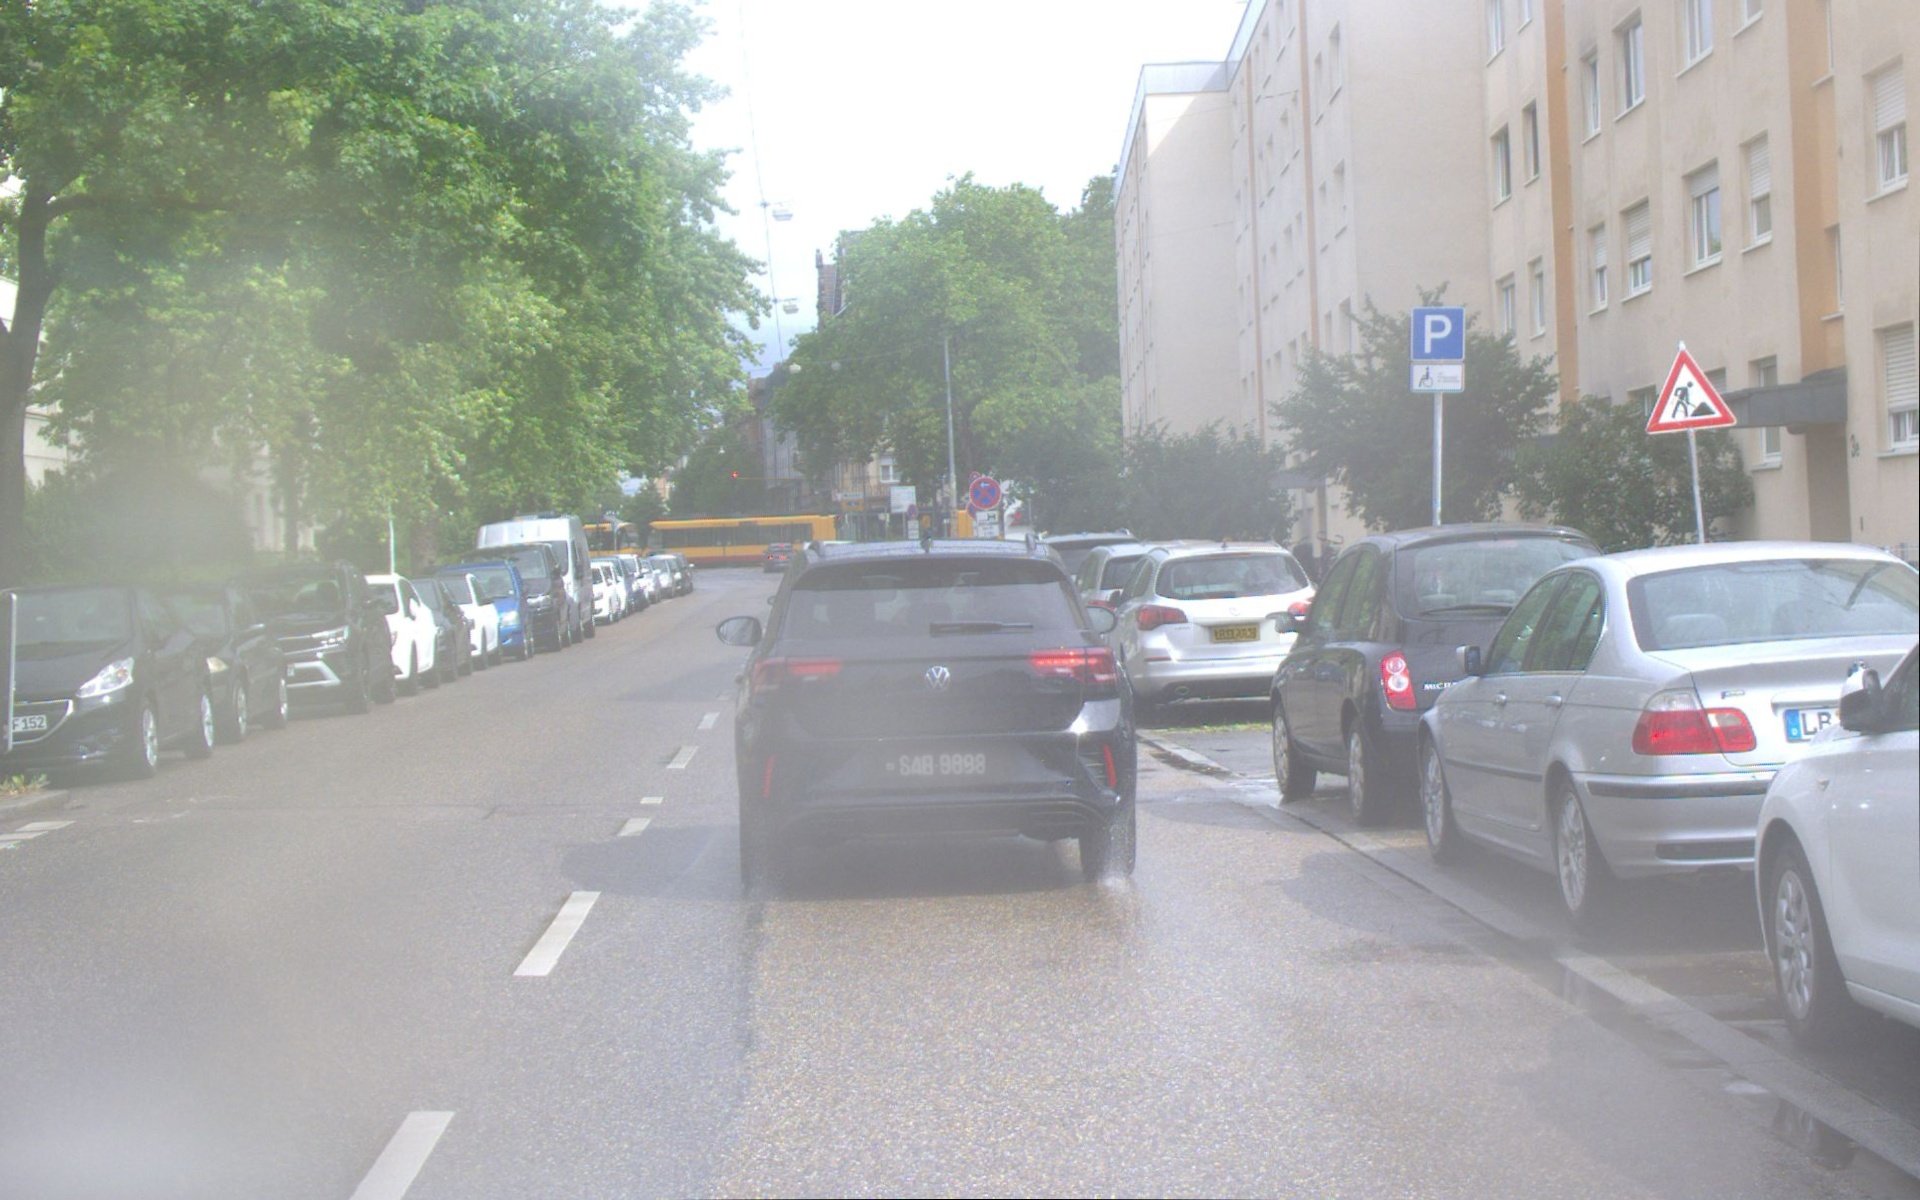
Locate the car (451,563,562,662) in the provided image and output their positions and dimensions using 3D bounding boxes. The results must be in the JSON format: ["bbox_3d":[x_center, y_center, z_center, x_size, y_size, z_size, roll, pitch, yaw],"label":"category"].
[{"bbox_3d":[-8.086,0.195,61.535,1.586,1.634,3.921,-3,1,-3],"label":"car"}]

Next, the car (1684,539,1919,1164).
[{"bbox_3d":[3.164,0.580,8.321,1.749,1.503,4.112,-2,-1,-2],"label":"car"}]

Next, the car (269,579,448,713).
[{"bbox_3d":[-7.142,0.508,41.136,1.586,1.413,3.921,-3,1,-3],"label":"car"}]

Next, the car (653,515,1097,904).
[{"bbox_3d":[-0.319,0.441,16.607,1.873,1.640,4.062,0,1,1],"label":"car"}]

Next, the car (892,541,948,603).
[{"bbox_3d":[-1.271,-0.904,109.282,1.665,1.831,4.000,-3,1,-1],"label":"car"}]

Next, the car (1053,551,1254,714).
[{"bbox_3d":[1.940,0.295,35.560,1.604,1.500,4.033,-3,1,-2],"label":"car"}]

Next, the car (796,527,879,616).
[{"bbox_3d":[-2.905,-0.663,82.423,1.836,2.096,4.000,0,0,0],"label":"car"}]

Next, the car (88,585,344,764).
[{"bbox_3d":[-6.713,0.624,31.367,1.586,1.413,4.053,-3,1,-3],"label":"car"}]

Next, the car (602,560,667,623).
[{"bbox_3d":[-9.066,-0.257,95.932,1.586,1.634,3.921,-3,1,-3],"label":"car"}]

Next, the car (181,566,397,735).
[{"bbox_3d":[-6.934,0.473,35.856,1.586,1.570,4.015,-3,1,-3],"label":"car"}]

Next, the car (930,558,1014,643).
[{"bbox_3d":[0.242,-0.018,76.571,1.604,1.759,4.033,-3,1,-2],"label":"car"}]

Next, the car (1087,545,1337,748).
[{"bbox_3d":[2.106,0.346,29.664,1.695,1.533,4.032,-3,1,-1],"label":"car"}]

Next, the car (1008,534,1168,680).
[{"bbox_3d":[1.565,0.057,43.304,1.604,1.666,4.033,-3,1,-2],"label":"car"}]

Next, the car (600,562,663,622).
[{"bbox_3d":[-9.600,-0.250,100.616,1.586,1.634,3.921,-3,1,-3],"label":"car"}]

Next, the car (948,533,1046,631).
[{"bbox_3d":[0.687,-0.368,67.056,1.604,1.759,4.033,-3,1,-2],"label":"car"}]

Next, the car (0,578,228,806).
[{"bbox_3d":[-6.630,0.640,25.684,1.586,1.500,4.065,-3,1,-3],"label":"car"}]

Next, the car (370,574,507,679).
[{"bbox_3d":[-7.760,0.366,51.426,1.586,1.413,3.921,-3,1,-3],"label":"car"}]

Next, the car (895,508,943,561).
[{"bbox_3d":[-1.537,-2.428,127.625,1.665,1.831,4.000,-3,1,-1],"label":"car"}]

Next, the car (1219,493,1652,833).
[{"bbox_3d":[2.496,0.268,18.941,1.604,1.656,4.033,-1,1,-3],"label":"car"}]

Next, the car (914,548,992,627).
[{"bbox_3d":[-0.188,-0.319,83.006,1.604,1.759,4.033,-3,1,-2],"label":"car"}]

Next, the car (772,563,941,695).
[{"bbox_3d":[-1.198,0.335,41.283,1.813,1.498,4.000,0,0,1],"label":"car"}]

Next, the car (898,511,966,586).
[{"bbox_3d":[-0.741,-1.333,89.692,1.665,1.831,4.000,-3,1,-1],"label":"car"}]

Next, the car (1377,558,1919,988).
[{"bbox_3d":[2.915,0.563,13.842,1.716,1.447,4.260,-1,1,-3],"label":"car"}]

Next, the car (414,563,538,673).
[{"bbox_3d":[-7.836,0.261,55.889,1.586,1.634,3.921,-3,1,-3],"label":"car"}]

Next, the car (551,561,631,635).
[{"bbox_3d":[-8.752,-0.065,81.728,1.586,1.634,3.921,-3,1,-3],"label":"car"}]
